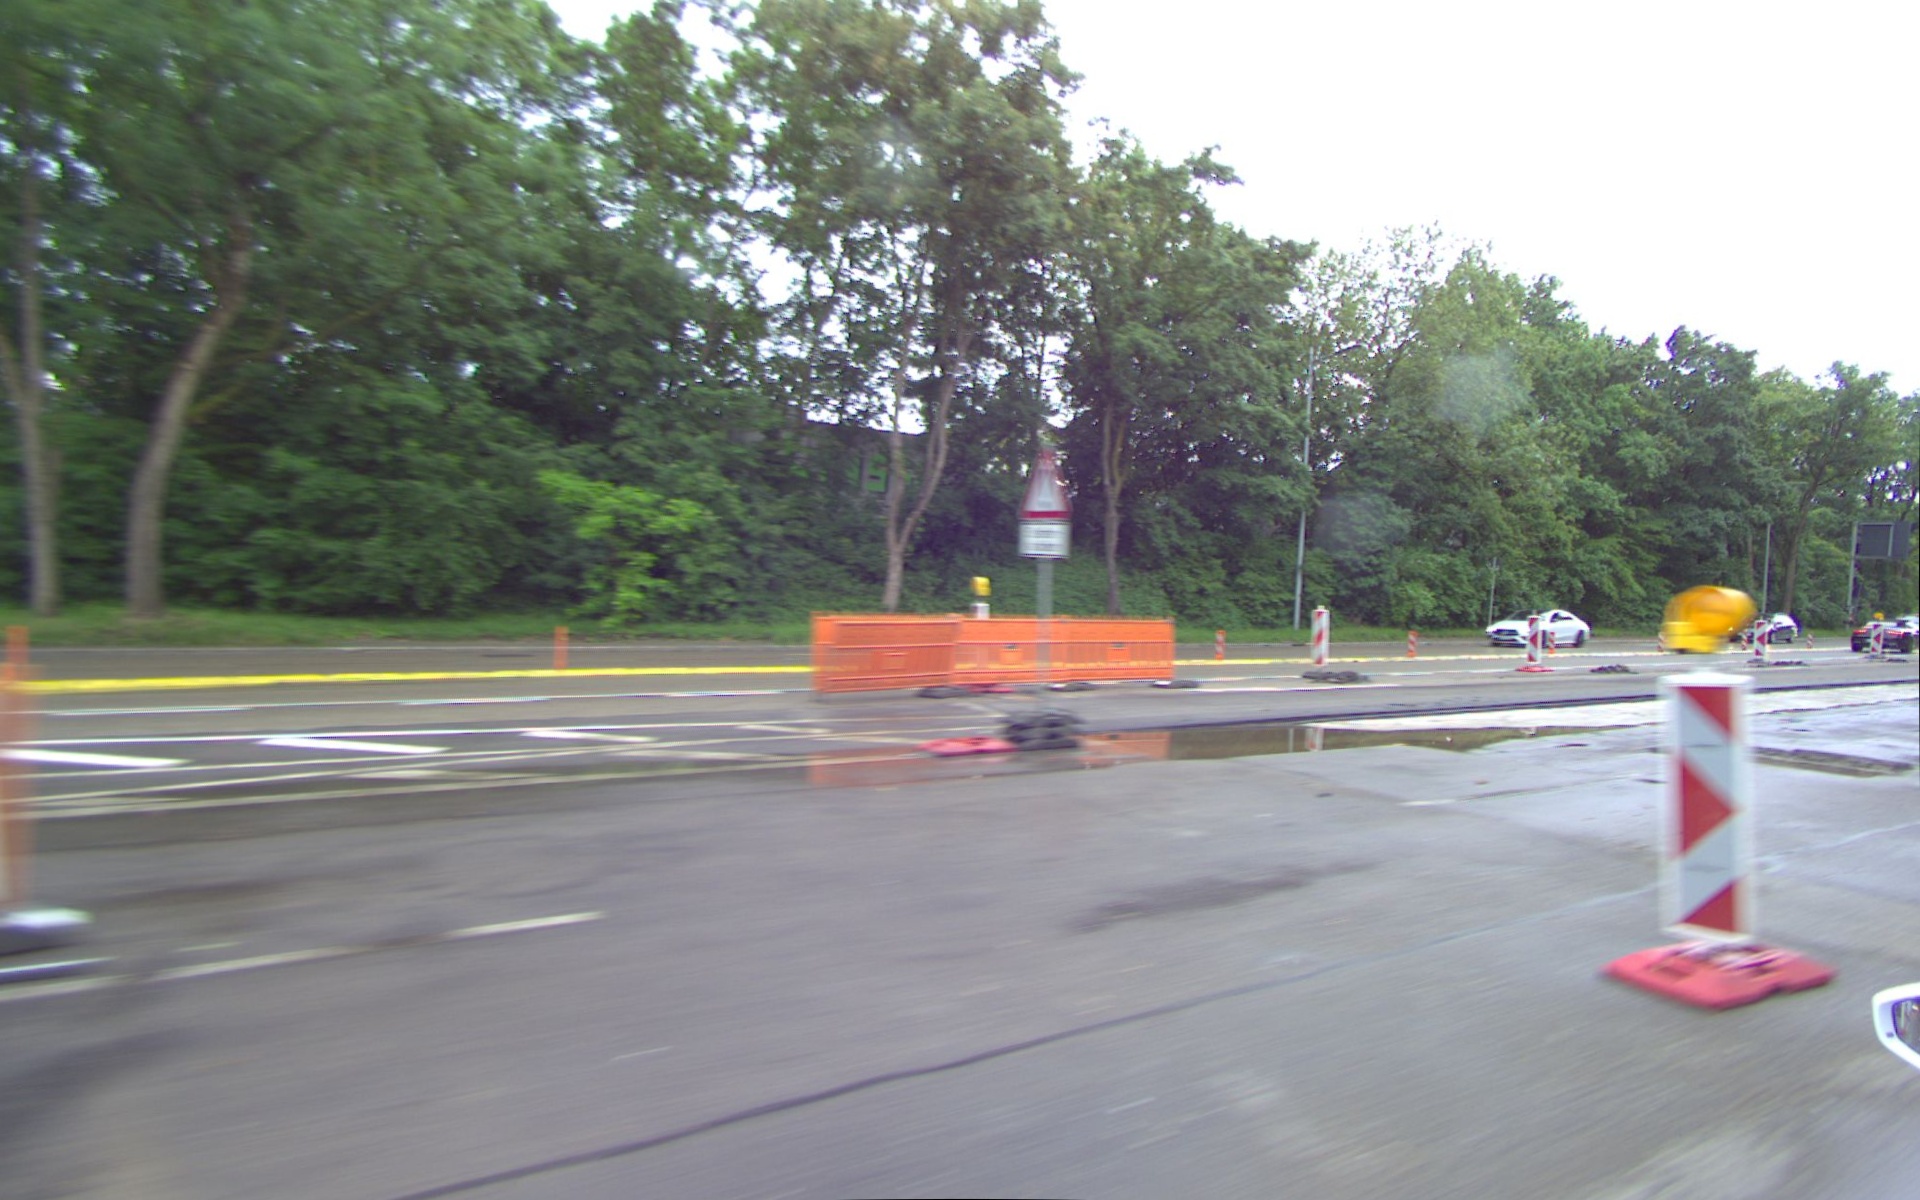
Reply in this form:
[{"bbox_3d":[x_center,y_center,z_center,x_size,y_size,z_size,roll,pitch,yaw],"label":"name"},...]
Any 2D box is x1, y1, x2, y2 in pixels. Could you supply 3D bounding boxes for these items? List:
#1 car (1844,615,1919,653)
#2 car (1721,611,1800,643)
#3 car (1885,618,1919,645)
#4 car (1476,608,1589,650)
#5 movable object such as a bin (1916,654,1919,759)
[{"bbox_3d":[39.052,1.411,42.465,4.001,1.423,1.596,1,2,-36],"label":"car"},{"bbox_3d":[40.293,1.361,50.515,4.633,1.472,1.773,1,1,-34],"label":"car"},{"bbox_3d":[62.267,2.053,65.625,4.867,1.685,1.765,1,0,-36],"label":"car"},{"bbox_3d":[21.342,1.078,37.382,4.420,1.445,1.774,1,1,-32],"label":"car"},{"bbox_3d":[13.478,0.353,11.886,5.186,3.025,1.794,1,1,-31],"label":"movable object such as a bin"}]
